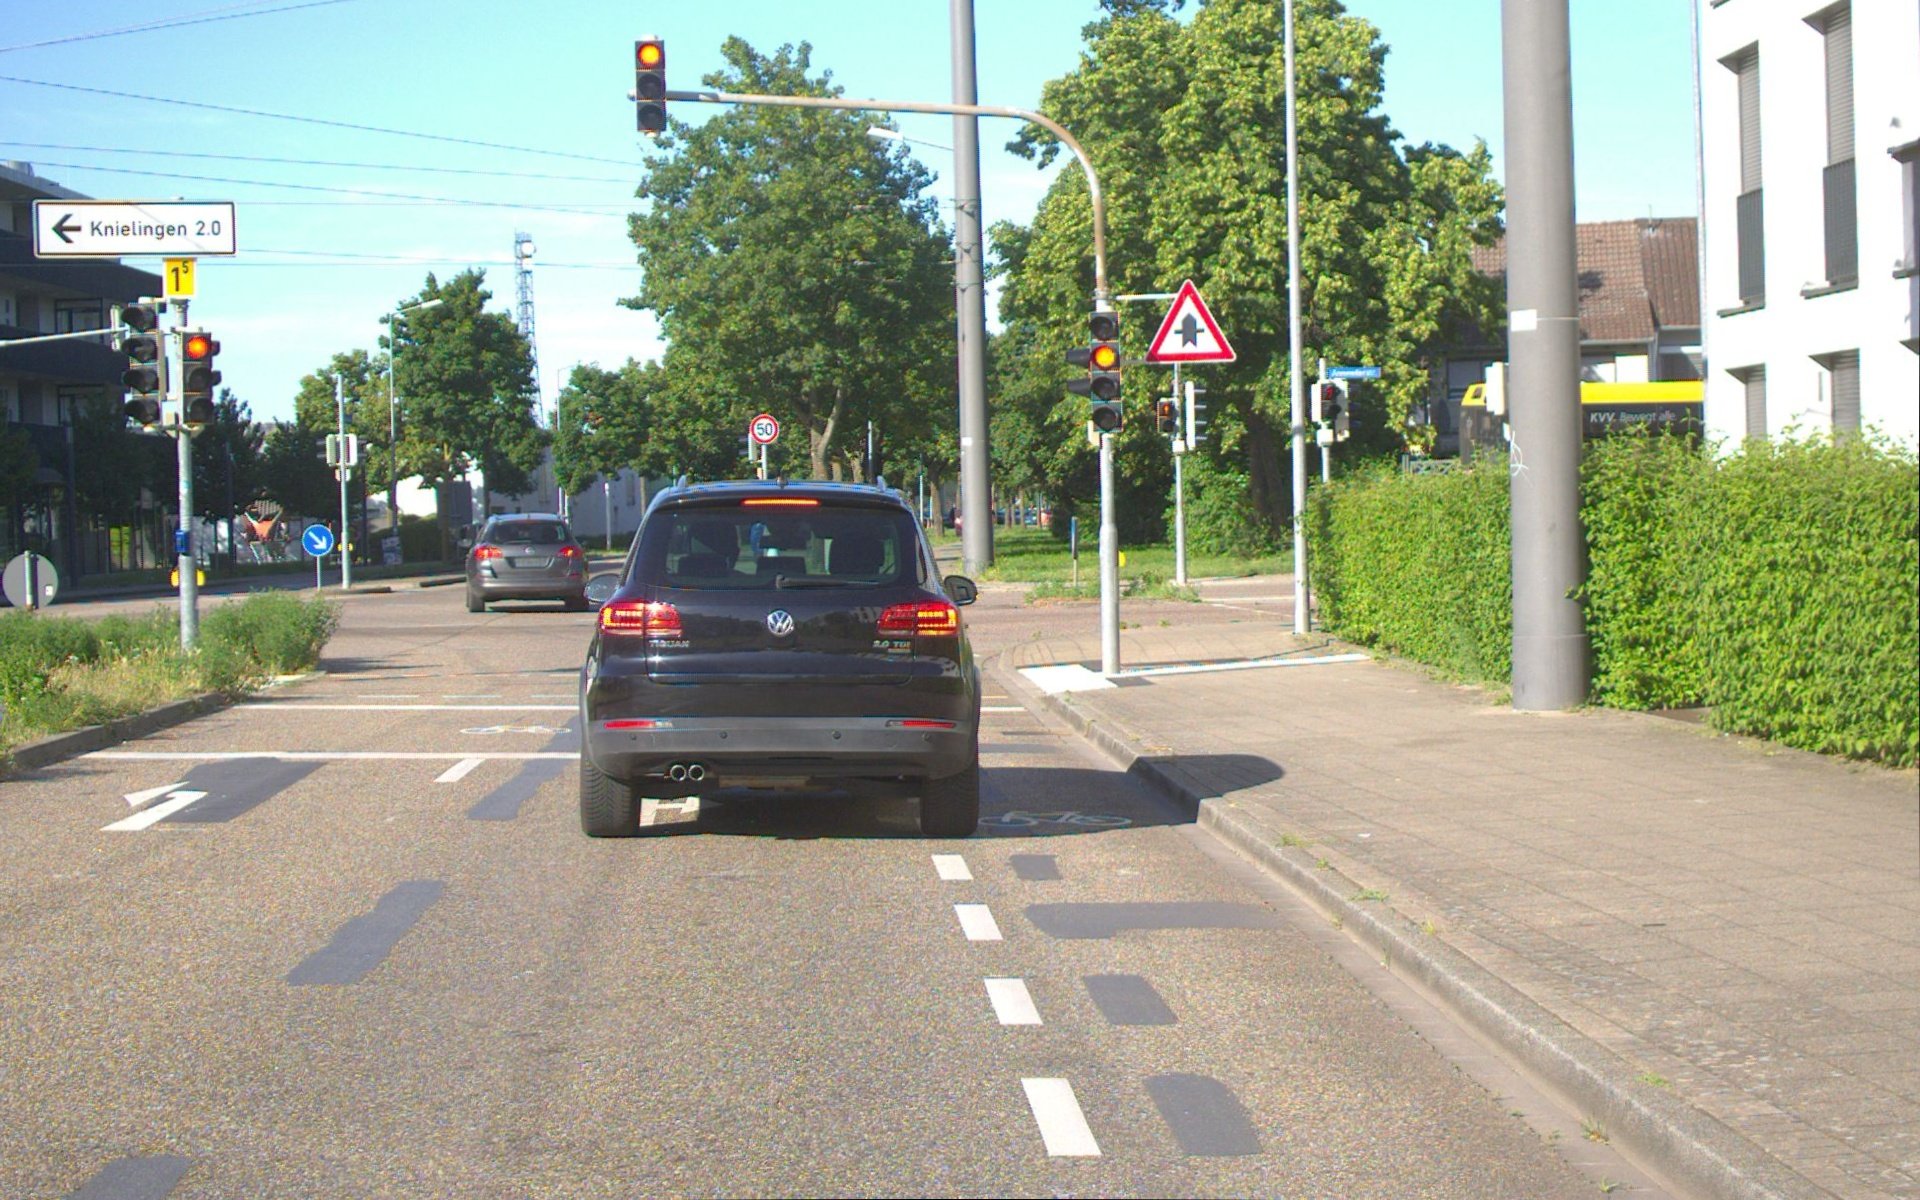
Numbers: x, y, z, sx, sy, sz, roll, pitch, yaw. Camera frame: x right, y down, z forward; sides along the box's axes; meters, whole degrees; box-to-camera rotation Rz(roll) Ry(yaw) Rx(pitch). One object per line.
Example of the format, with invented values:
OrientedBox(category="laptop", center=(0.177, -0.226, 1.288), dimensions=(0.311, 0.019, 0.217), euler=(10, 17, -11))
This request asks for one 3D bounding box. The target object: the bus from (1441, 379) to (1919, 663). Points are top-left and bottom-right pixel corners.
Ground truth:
OrientedBox(category="bus", center=(14.017, -1.125, 47.475), dimensions=(14.630, 3.658, 2.849), euler=(-1, 2, -14))

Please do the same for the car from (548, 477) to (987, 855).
OrientedBox(category="car", center=(-0.954, 0.229, 16.995), dimensions=(1.905, 1.637, 4.001), euler=(0, 2, -3))

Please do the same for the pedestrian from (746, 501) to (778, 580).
OrientedBox(category="pedestrian", center=(-4.084, -1.234, 71.016), dimensions=(0.603, 1.634, 0.529), euler=(0, 1, 3))

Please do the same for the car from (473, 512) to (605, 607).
OrientedBox(category="car", center=(-6.375, -0.644, 52.357), dimensions=(1.750, 1.382, 4.001), euler=(0, 2, -3))
